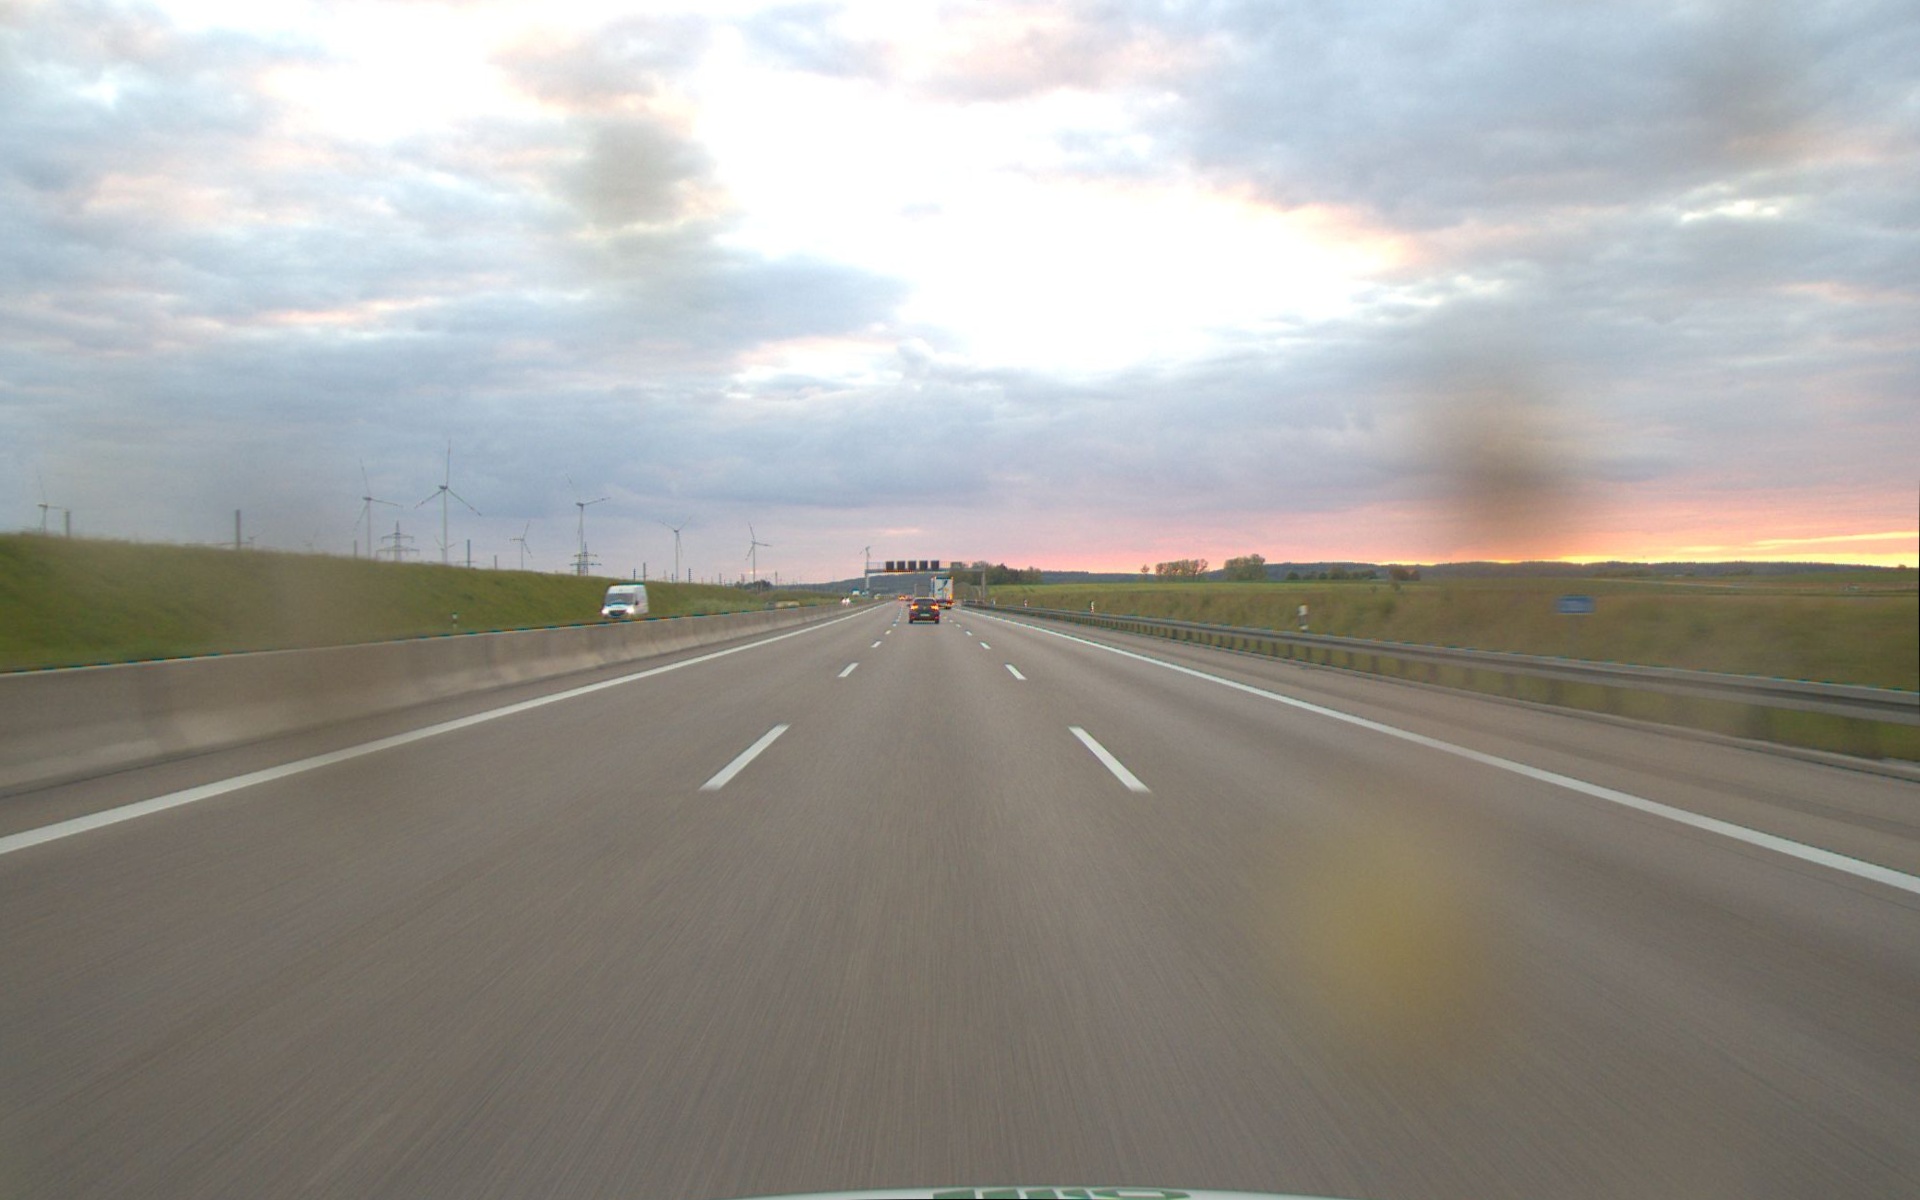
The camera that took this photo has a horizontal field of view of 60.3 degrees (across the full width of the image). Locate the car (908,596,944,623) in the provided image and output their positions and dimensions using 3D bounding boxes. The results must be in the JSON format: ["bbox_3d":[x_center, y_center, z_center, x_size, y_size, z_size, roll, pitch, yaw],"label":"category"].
[{"bbox_3d":[-1.932,0.520,94.175,1.947,1.455,4.000,-1,0,0],"label":"car"}]

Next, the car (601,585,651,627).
[{"bbox_3d":[-21.456,0.352,106.562,1.953,2.591,7.375,0,0,-2],"label":"car"}]

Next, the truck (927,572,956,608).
[{"bbox_3d":[-2.443,-1.330,218.754,3.601,4.645,10.977,-1,0,-2],"label":"truck"}]
